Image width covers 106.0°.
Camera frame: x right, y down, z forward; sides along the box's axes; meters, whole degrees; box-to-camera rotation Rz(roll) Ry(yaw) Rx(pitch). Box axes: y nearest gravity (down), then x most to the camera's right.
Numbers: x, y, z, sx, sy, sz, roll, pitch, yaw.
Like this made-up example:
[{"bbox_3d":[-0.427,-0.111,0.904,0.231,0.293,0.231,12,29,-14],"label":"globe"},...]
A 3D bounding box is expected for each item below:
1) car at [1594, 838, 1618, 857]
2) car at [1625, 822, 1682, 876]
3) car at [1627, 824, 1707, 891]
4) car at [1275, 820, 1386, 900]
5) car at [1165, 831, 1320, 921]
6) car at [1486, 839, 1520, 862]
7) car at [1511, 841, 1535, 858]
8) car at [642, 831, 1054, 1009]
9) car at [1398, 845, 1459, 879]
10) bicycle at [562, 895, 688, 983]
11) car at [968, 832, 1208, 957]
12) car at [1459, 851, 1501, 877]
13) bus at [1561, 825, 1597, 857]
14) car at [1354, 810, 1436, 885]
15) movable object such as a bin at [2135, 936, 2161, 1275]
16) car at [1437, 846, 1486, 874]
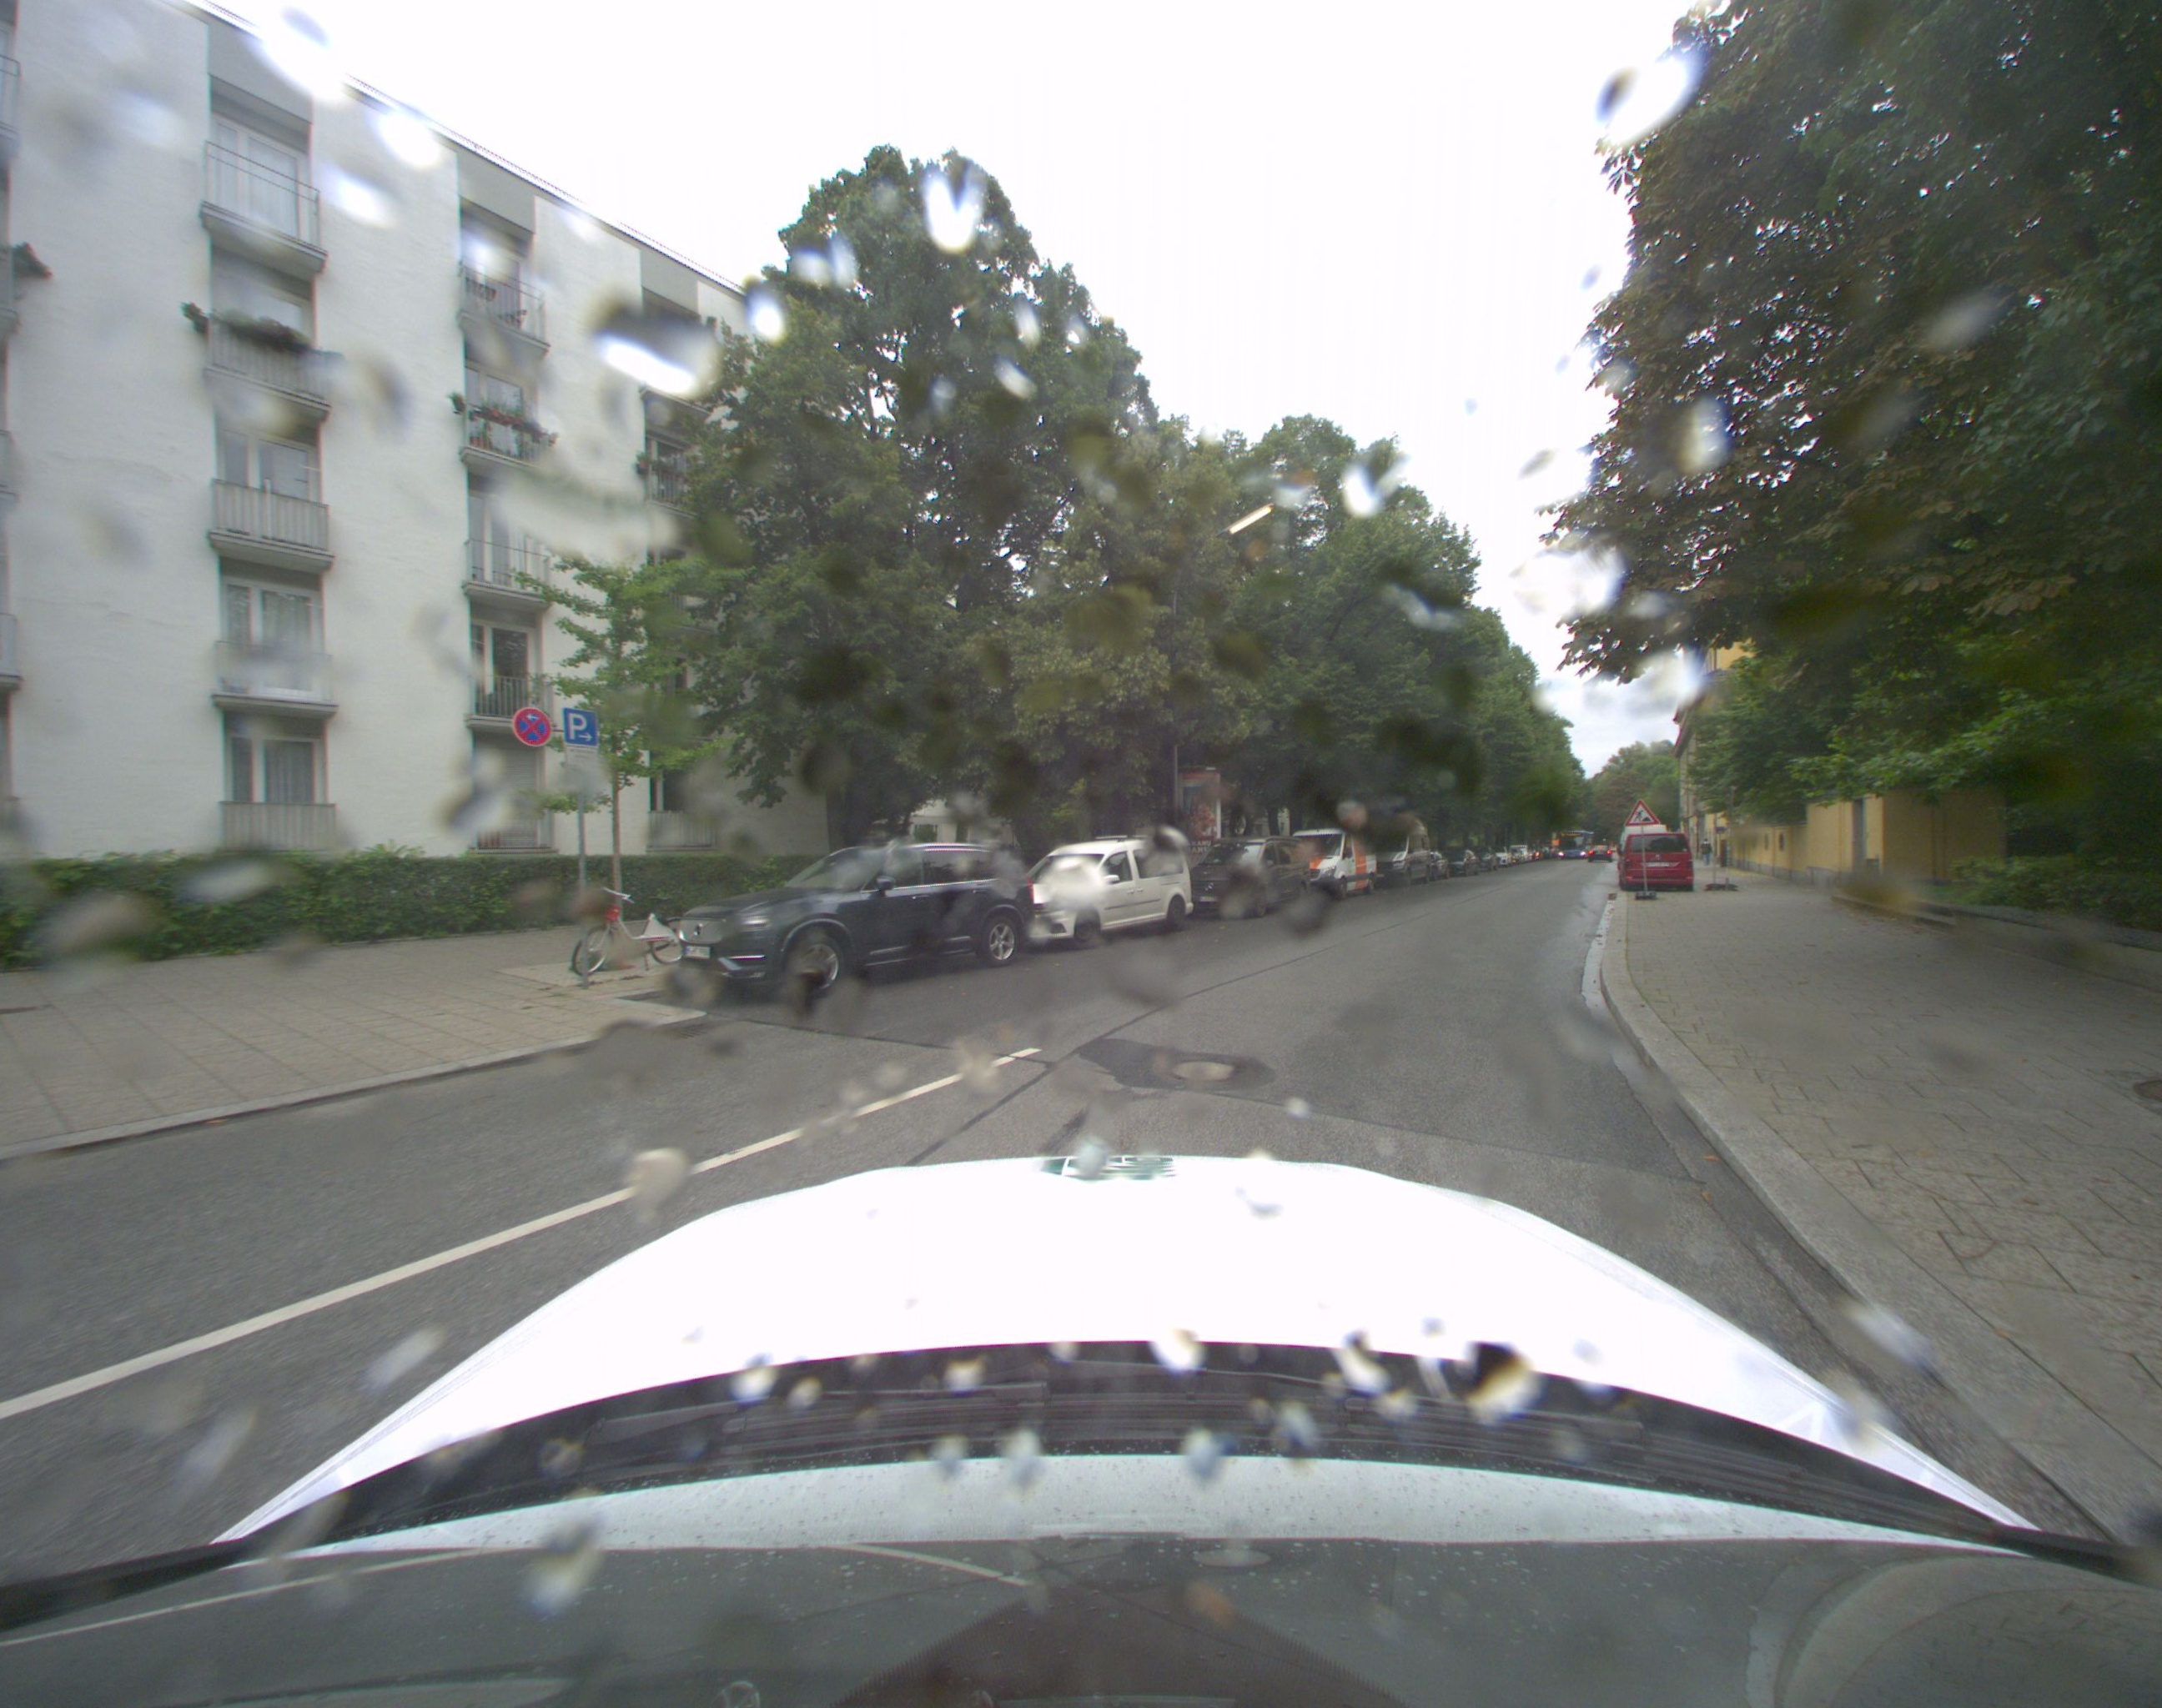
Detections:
[{"bbox_3d":[46.189,-0.601,71.630,1.562,1.584,4.070,-1,0,35],"label":"car"},{"bbox_3d":[28.311,-0.230,40.415,2.075,2.487,5.776,-1,-1,33],"label":"car"},{"bbox_3d":[19.276,0.125,26.981,1.841,1.967,5.479,-1,-1,33],"label":"car"},{"bbox_3d":[8.326,0.201,26.784,2.094,2.348,5.442,-1,-1,33],"label":"car"},{"bbox_3d":[4.279,0.463,20.679,1.926,1.964,5.494,-2,0,33],"label":"car"},{"bbox_3d":[31.261,-0.244,60.269,1.767,1.597,4.613,-1,0,33],"label":"car"},{"bbox_3d":[40.019,-0.394,73.679,1.656,1.469,4.130,-1,0,33],"label":"car"},{"bbox_3d":[-2.678,0.668,10.671,1.861,1.768,5.091,-1,-1,37],"label":"car"},{"bbox_3d":[16.884,0.360,39.440,1.772,1.438,4.608,-1,1,35],"label":"car"},{"bbox_3d":[-5.905,1.067,10.623,0.462,1.013,1.428,-1,-1,26],"label":"bicycle"},{"bbox_3d":[0.324,0.600,15.097,1.861,1.937,4.864,-2,0,37],"label":"car"},{"bbox_3d":[23.833,0.599,48.570,1.772,1.454,3.974,-1,-1,33],"label":"car"},{"bbox_3d":[56.825,-1.284,92.595,2.832,3.239,18.543,-1,-1,33],"label":"bus"},{"bbox_3d":[13.212,-0.215,34.020,1.926,2.854,6.275,-1,-1,33],"label":"car"},{"bbox_3d":[3.945,0.800,2.446,0.903,1.084,0.770,-2,-1,-28],"label":"movable object such as a bin"},{"bbox_3d":[20.368,0.313,43.479,1.772,1.438,4.580,-1,-1,33],"label":"car"}]
